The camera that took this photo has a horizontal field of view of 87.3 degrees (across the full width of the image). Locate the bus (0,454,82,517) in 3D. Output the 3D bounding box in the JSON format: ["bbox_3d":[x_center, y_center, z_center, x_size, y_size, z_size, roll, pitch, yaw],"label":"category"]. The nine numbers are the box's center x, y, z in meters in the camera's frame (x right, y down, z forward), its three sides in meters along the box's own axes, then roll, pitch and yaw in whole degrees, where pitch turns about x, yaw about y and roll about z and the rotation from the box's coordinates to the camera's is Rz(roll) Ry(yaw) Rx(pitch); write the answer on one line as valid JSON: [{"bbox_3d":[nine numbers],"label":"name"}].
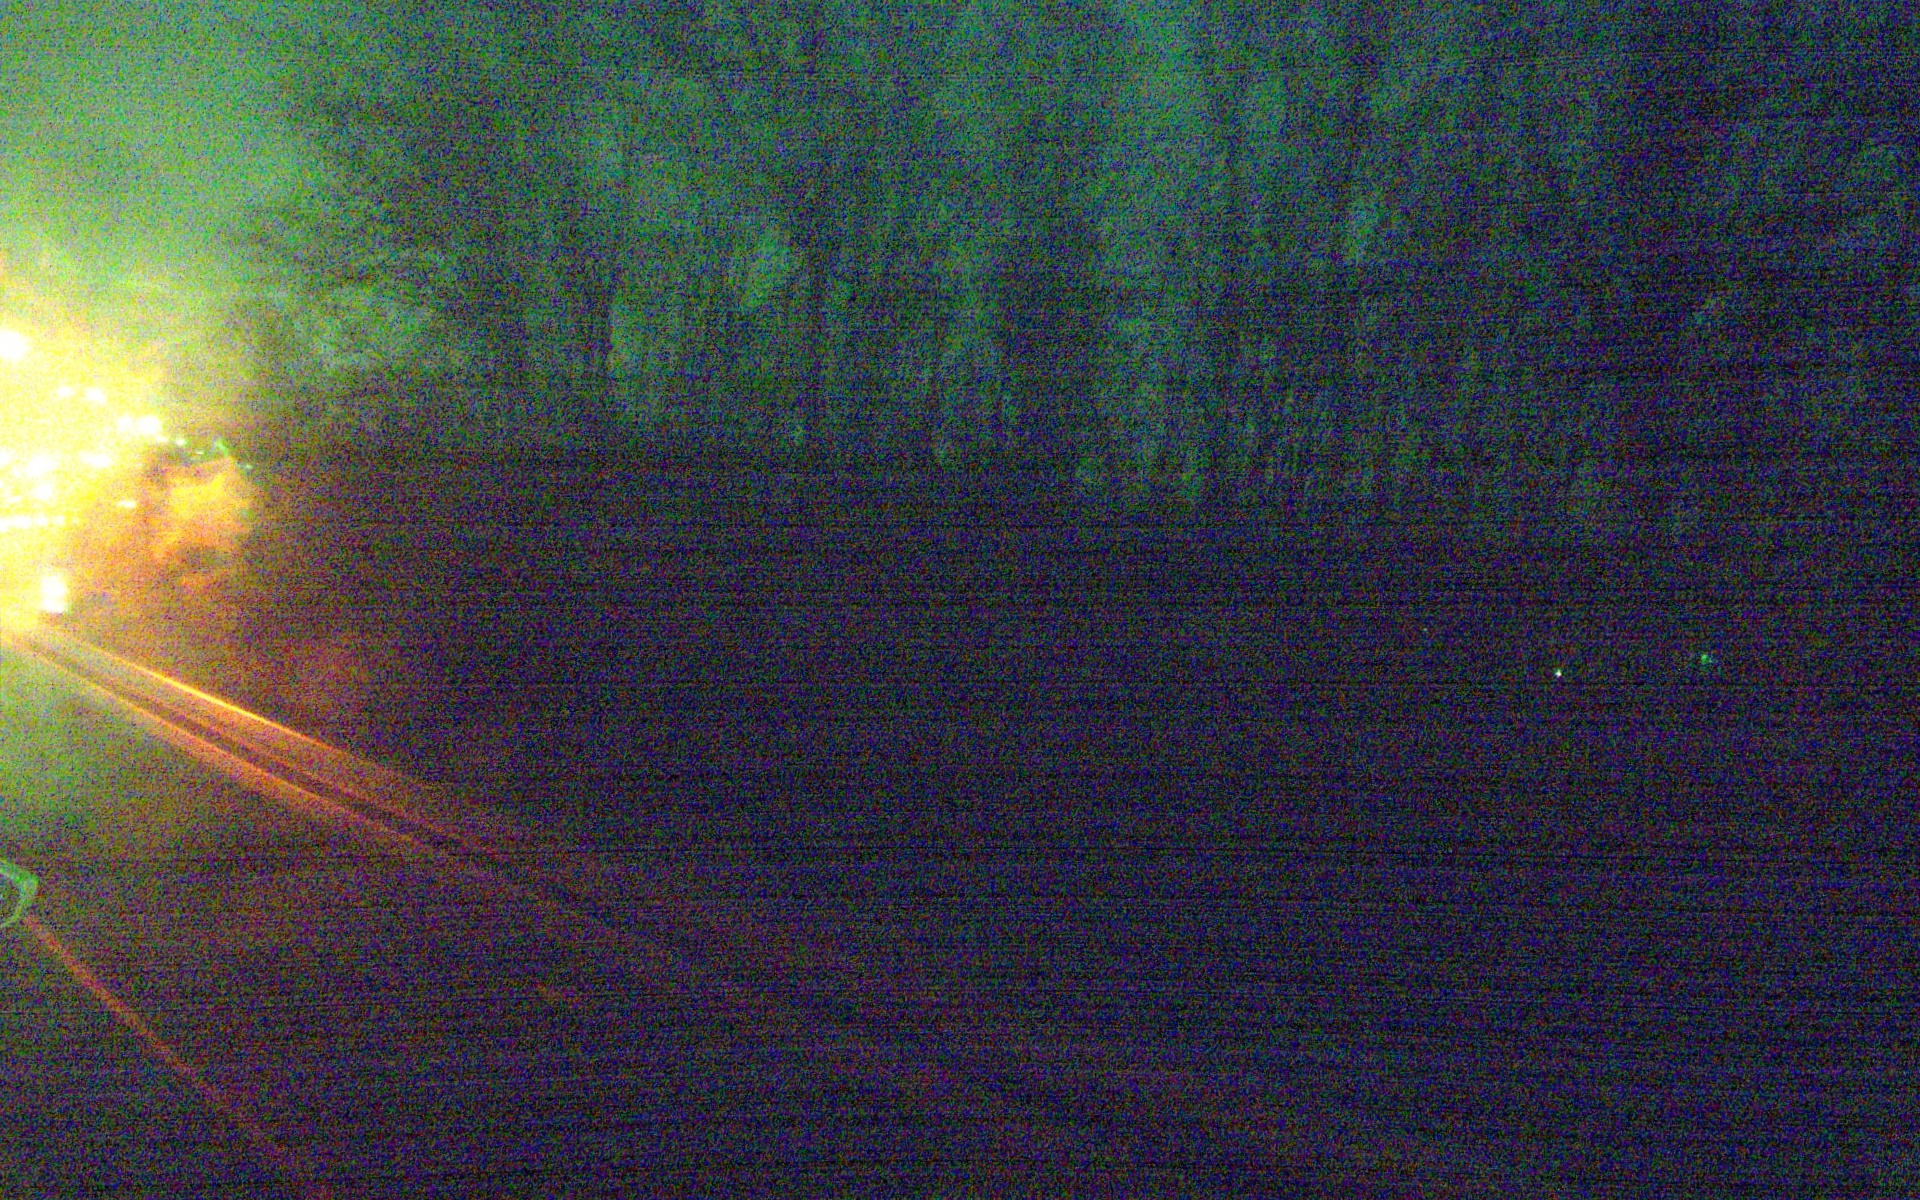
[{"bbox_3d":[-56.605,-6.917,61.563,2.726,3.161,9.120,8,-1,-33],"label":"bus"}]
